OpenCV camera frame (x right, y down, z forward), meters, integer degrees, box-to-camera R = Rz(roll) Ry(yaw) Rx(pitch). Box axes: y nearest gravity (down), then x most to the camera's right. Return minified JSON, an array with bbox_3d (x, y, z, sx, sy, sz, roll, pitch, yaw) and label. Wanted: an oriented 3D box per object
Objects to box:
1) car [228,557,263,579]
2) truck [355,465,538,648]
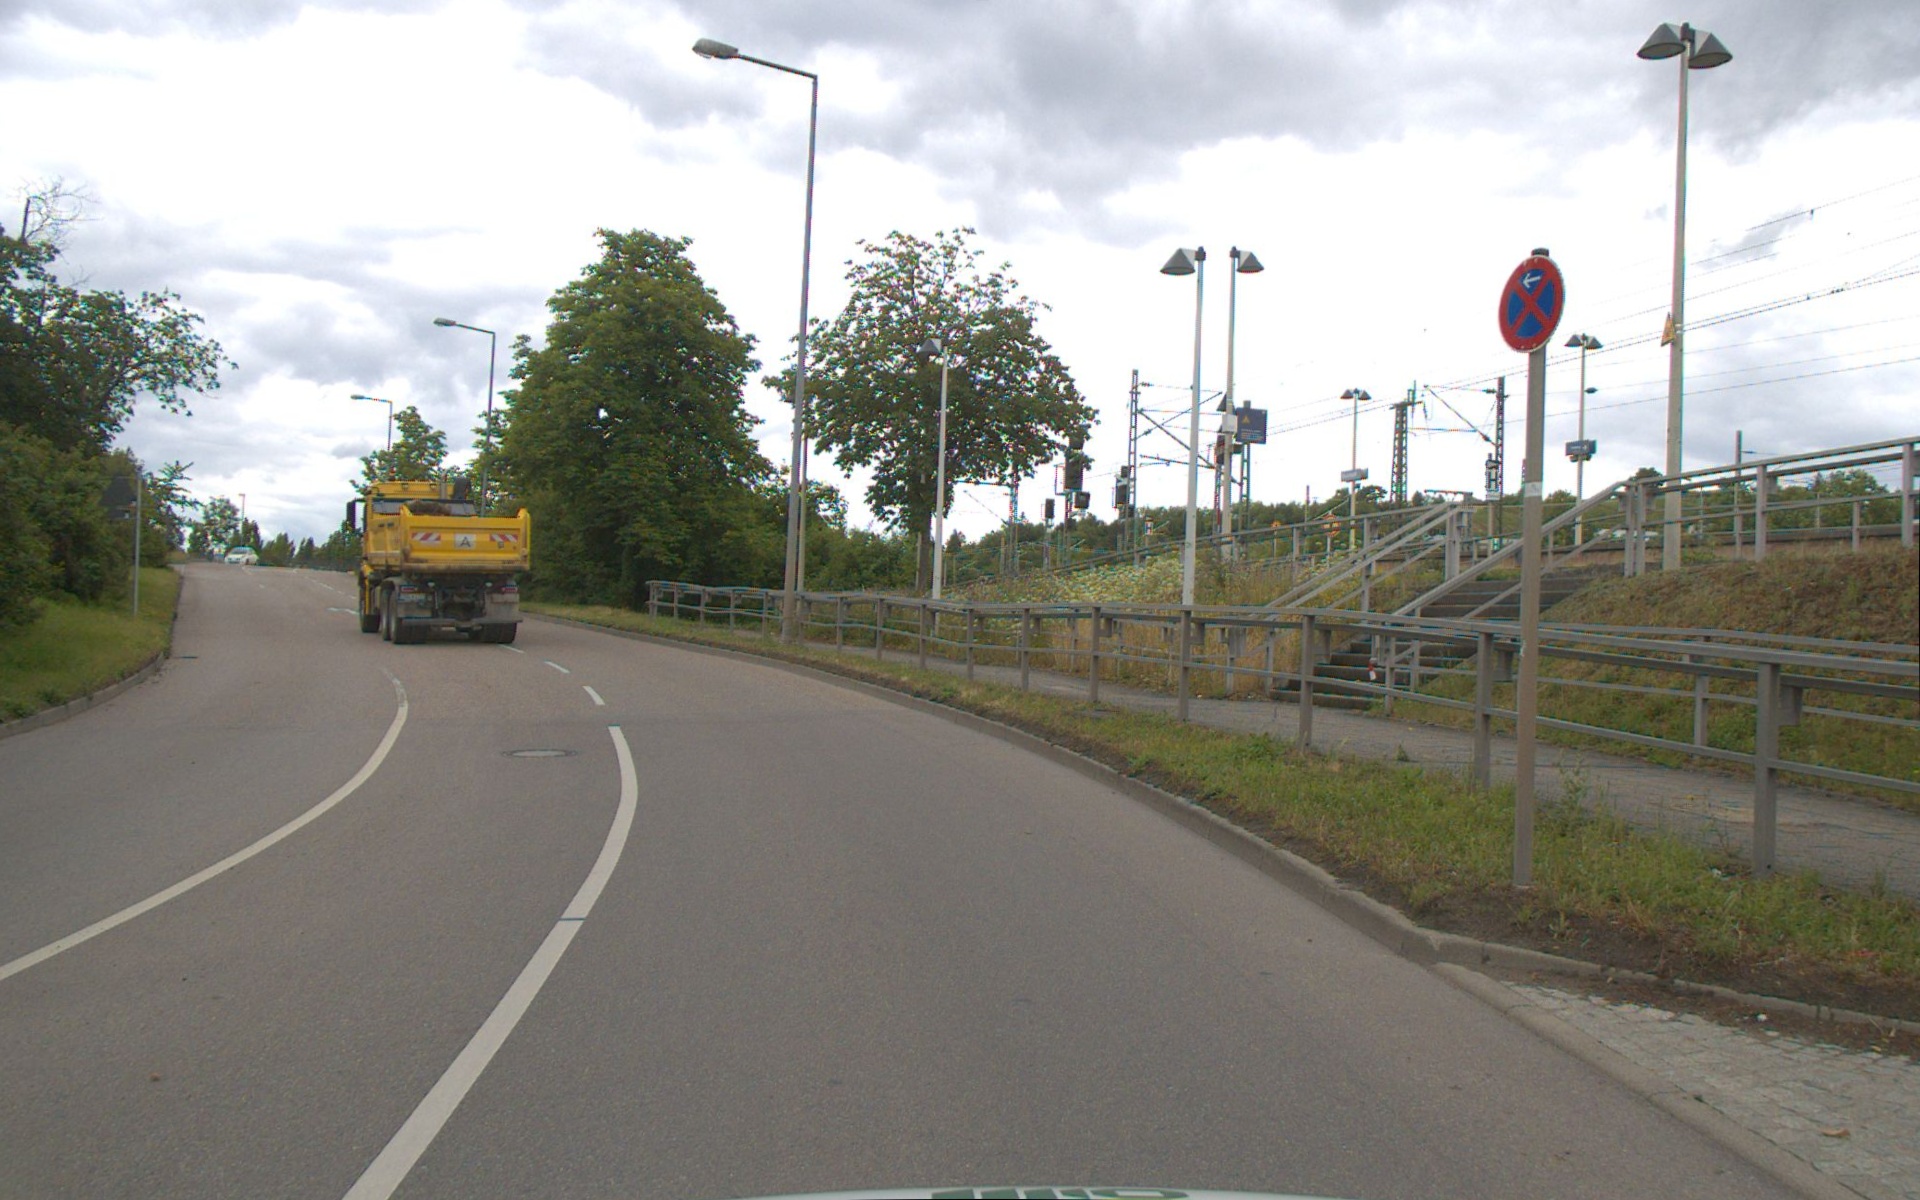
[{"bbox_3d":[-56.143,-2.502,129.970,1.961,1.668,3.982,2,0,-16],"label":"car"},{"bbox_3d":[-11.459,-0.948,36.370,2.730,3.544,8.064,0,1,-25],"label":"truck"}]
